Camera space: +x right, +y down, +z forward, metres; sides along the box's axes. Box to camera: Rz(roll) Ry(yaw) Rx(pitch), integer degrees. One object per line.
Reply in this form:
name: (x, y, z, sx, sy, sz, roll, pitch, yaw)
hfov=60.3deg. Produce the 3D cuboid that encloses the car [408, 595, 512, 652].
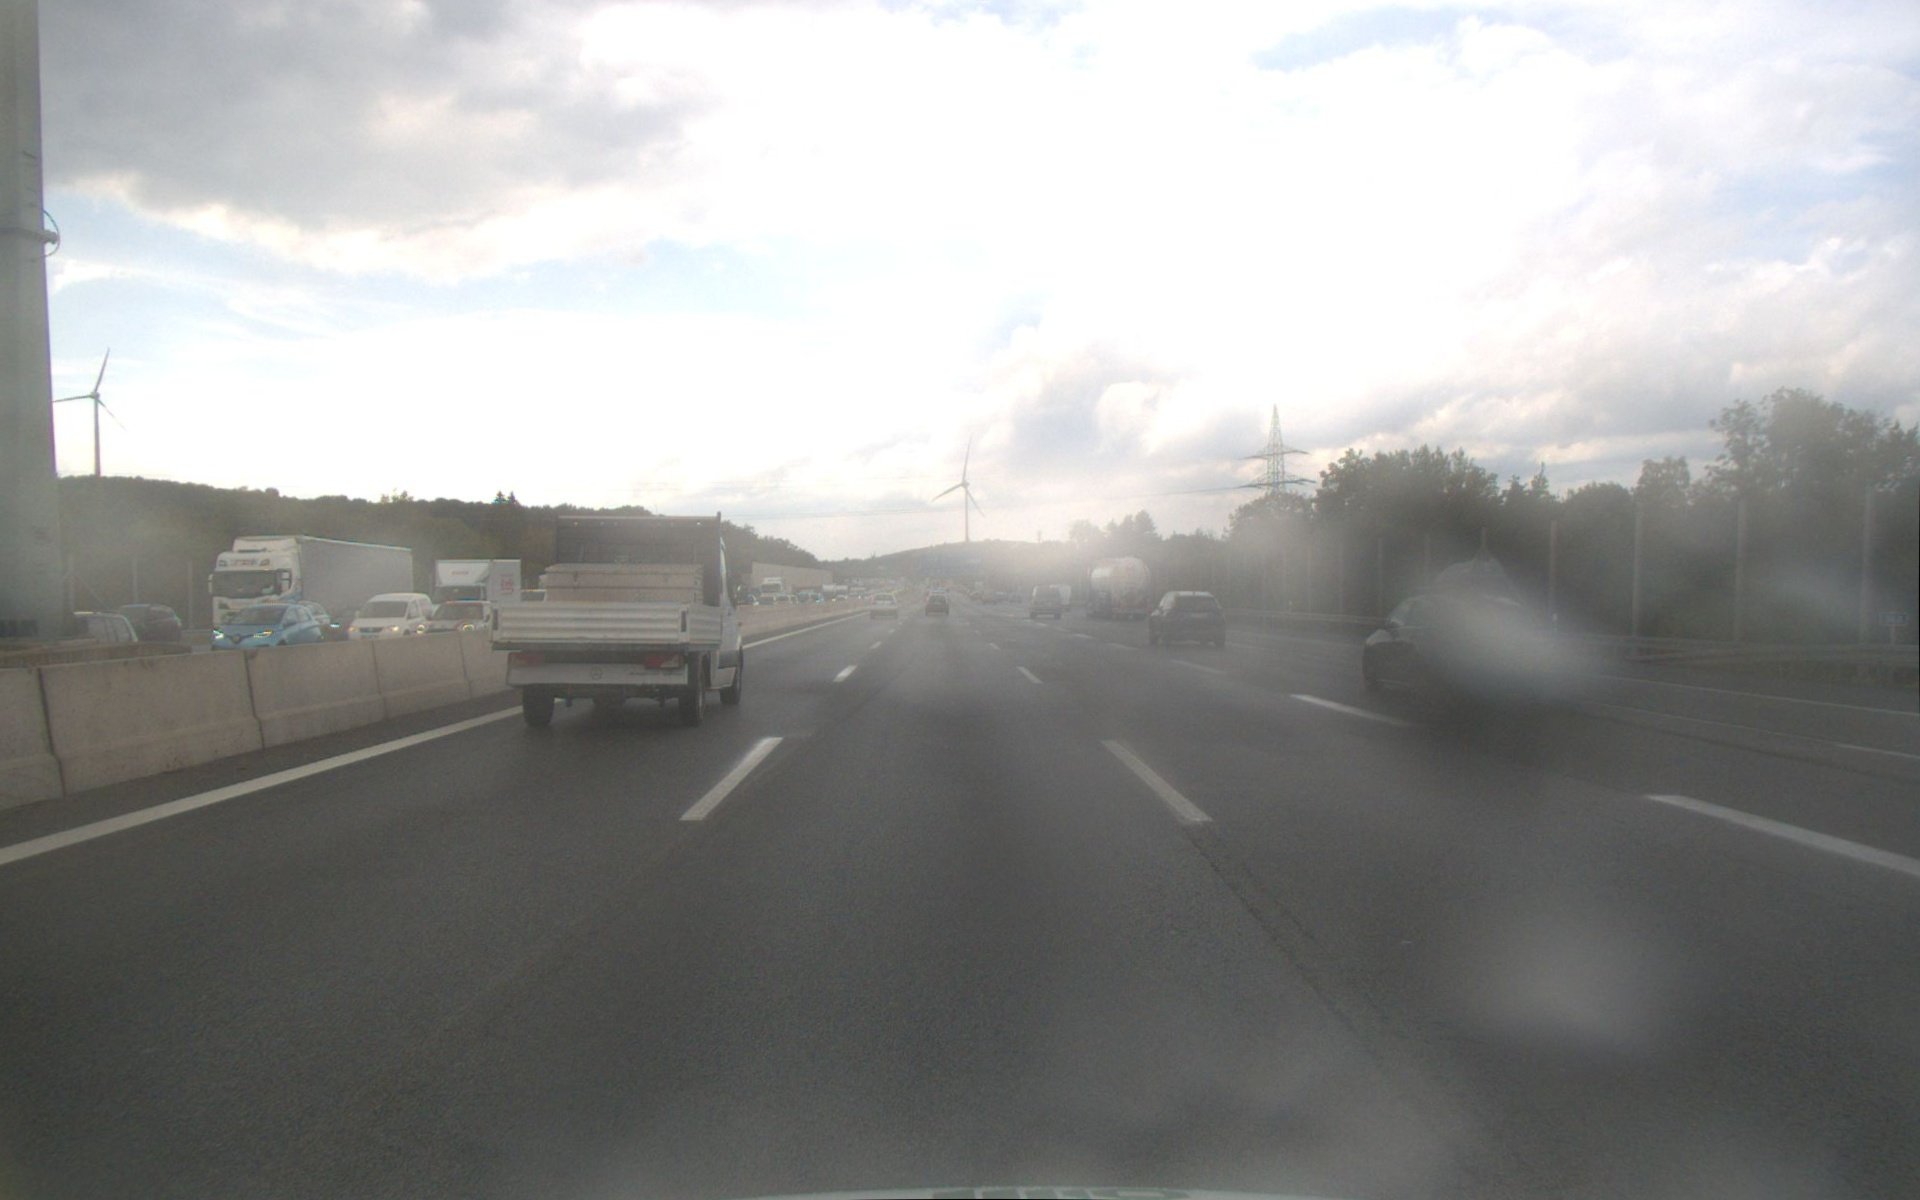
car: (-14.351, 0.645, 47.712, 1.722, 1.524, 4.393, 0, 1, -1)

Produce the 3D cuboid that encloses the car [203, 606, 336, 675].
car: (-18.097, 1.027, 43.544, 1.765, 1.650, 4.279, 0, 1, -1)

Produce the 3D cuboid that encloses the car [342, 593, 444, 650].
car: (-18.136, 0.657, 53.104, 1.677, 1.696, 4.795, 0, 1, -1)

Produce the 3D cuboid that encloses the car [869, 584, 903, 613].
car: (-4.542, -0.126, 101.688, 2.003, 1.729, 3.999, 0, 1, -1)

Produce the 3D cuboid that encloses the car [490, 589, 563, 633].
car: (-19.241, 0.466, 73.666, 1.820, 1.856, 5.664, 1, 1, -1)

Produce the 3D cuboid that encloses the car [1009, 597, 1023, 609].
car: (8.598, 0.423, 254.699, 1.953, 1.780, 4.496, 0, 0, -1)

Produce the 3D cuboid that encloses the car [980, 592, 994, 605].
car: (3.914, -0.231, 240.320, 2.003, 1.729, 4.000, 0, 1, 0)

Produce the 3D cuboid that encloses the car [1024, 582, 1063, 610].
car: (5.352, -0.278, 106.931, 2.056, 1.729, 3.997, 0, 1, -4)

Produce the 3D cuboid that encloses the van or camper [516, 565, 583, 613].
van or camper: (-19.782, -0.538, 79.843, 2.052, 2.224, 4.970, 0, 1, -1)

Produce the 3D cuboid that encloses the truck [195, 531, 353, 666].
truck: (-26.669, -0.088, 64.794, 3.084, 4.941, 8.024, 0, 1, -2)

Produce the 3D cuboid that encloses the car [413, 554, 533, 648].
car: (-18.544, -0.006, 63.440, 2.447, 3.357, 7.626, 0, 1, -1)

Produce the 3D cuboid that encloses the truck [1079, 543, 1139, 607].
truck: (10.073, -1.683, 112.644, 3.265, 4.151, 8.270, 1, 1, -1)

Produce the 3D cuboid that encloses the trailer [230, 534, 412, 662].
trailer: (-26.957, -0.172, 70.712, 3.084, 4.941, 13.290, 0, 1, -2)

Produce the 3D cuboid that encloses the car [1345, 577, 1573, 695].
car: (7.539, 0.507, 25.567, 2.061, 1.634, 5.066, 0, 0, 1)

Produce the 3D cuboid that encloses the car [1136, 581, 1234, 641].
car: (6.778, 0.303, 50.367, 2.005, 1.729, 5.003, 0, 0, -4)

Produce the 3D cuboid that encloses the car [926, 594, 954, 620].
car: (-1.445, 0.490, 119.042, 2.004, 1.729, 3.999, 0, 1, -1)

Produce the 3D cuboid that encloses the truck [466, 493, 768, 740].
truck: (-3.873, 0.113, 20.309, 2.305, 2.450, 7.356, 1, 1, -1)

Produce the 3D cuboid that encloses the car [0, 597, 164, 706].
car: (-14.001, 0.715, 25.205, 1.723, 1.463, 4.392, 0, 1, -2)

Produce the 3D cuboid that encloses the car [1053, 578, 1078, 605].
car: (10.037, -0.813, 157.833, 2.003, 2.541, 3.999, 0, 1, -1)

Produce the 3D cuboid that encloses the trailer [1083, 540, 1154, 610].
trailer: (10.122, -1.569, 106.725, 3.265, 4.248, 11.836, 1, 1, -1)

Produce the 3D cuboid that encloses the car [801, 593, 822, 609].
car: (-15.883, 0.139, 176.750, 1.856, 1.652, 4.844, 1, 1, -1)
